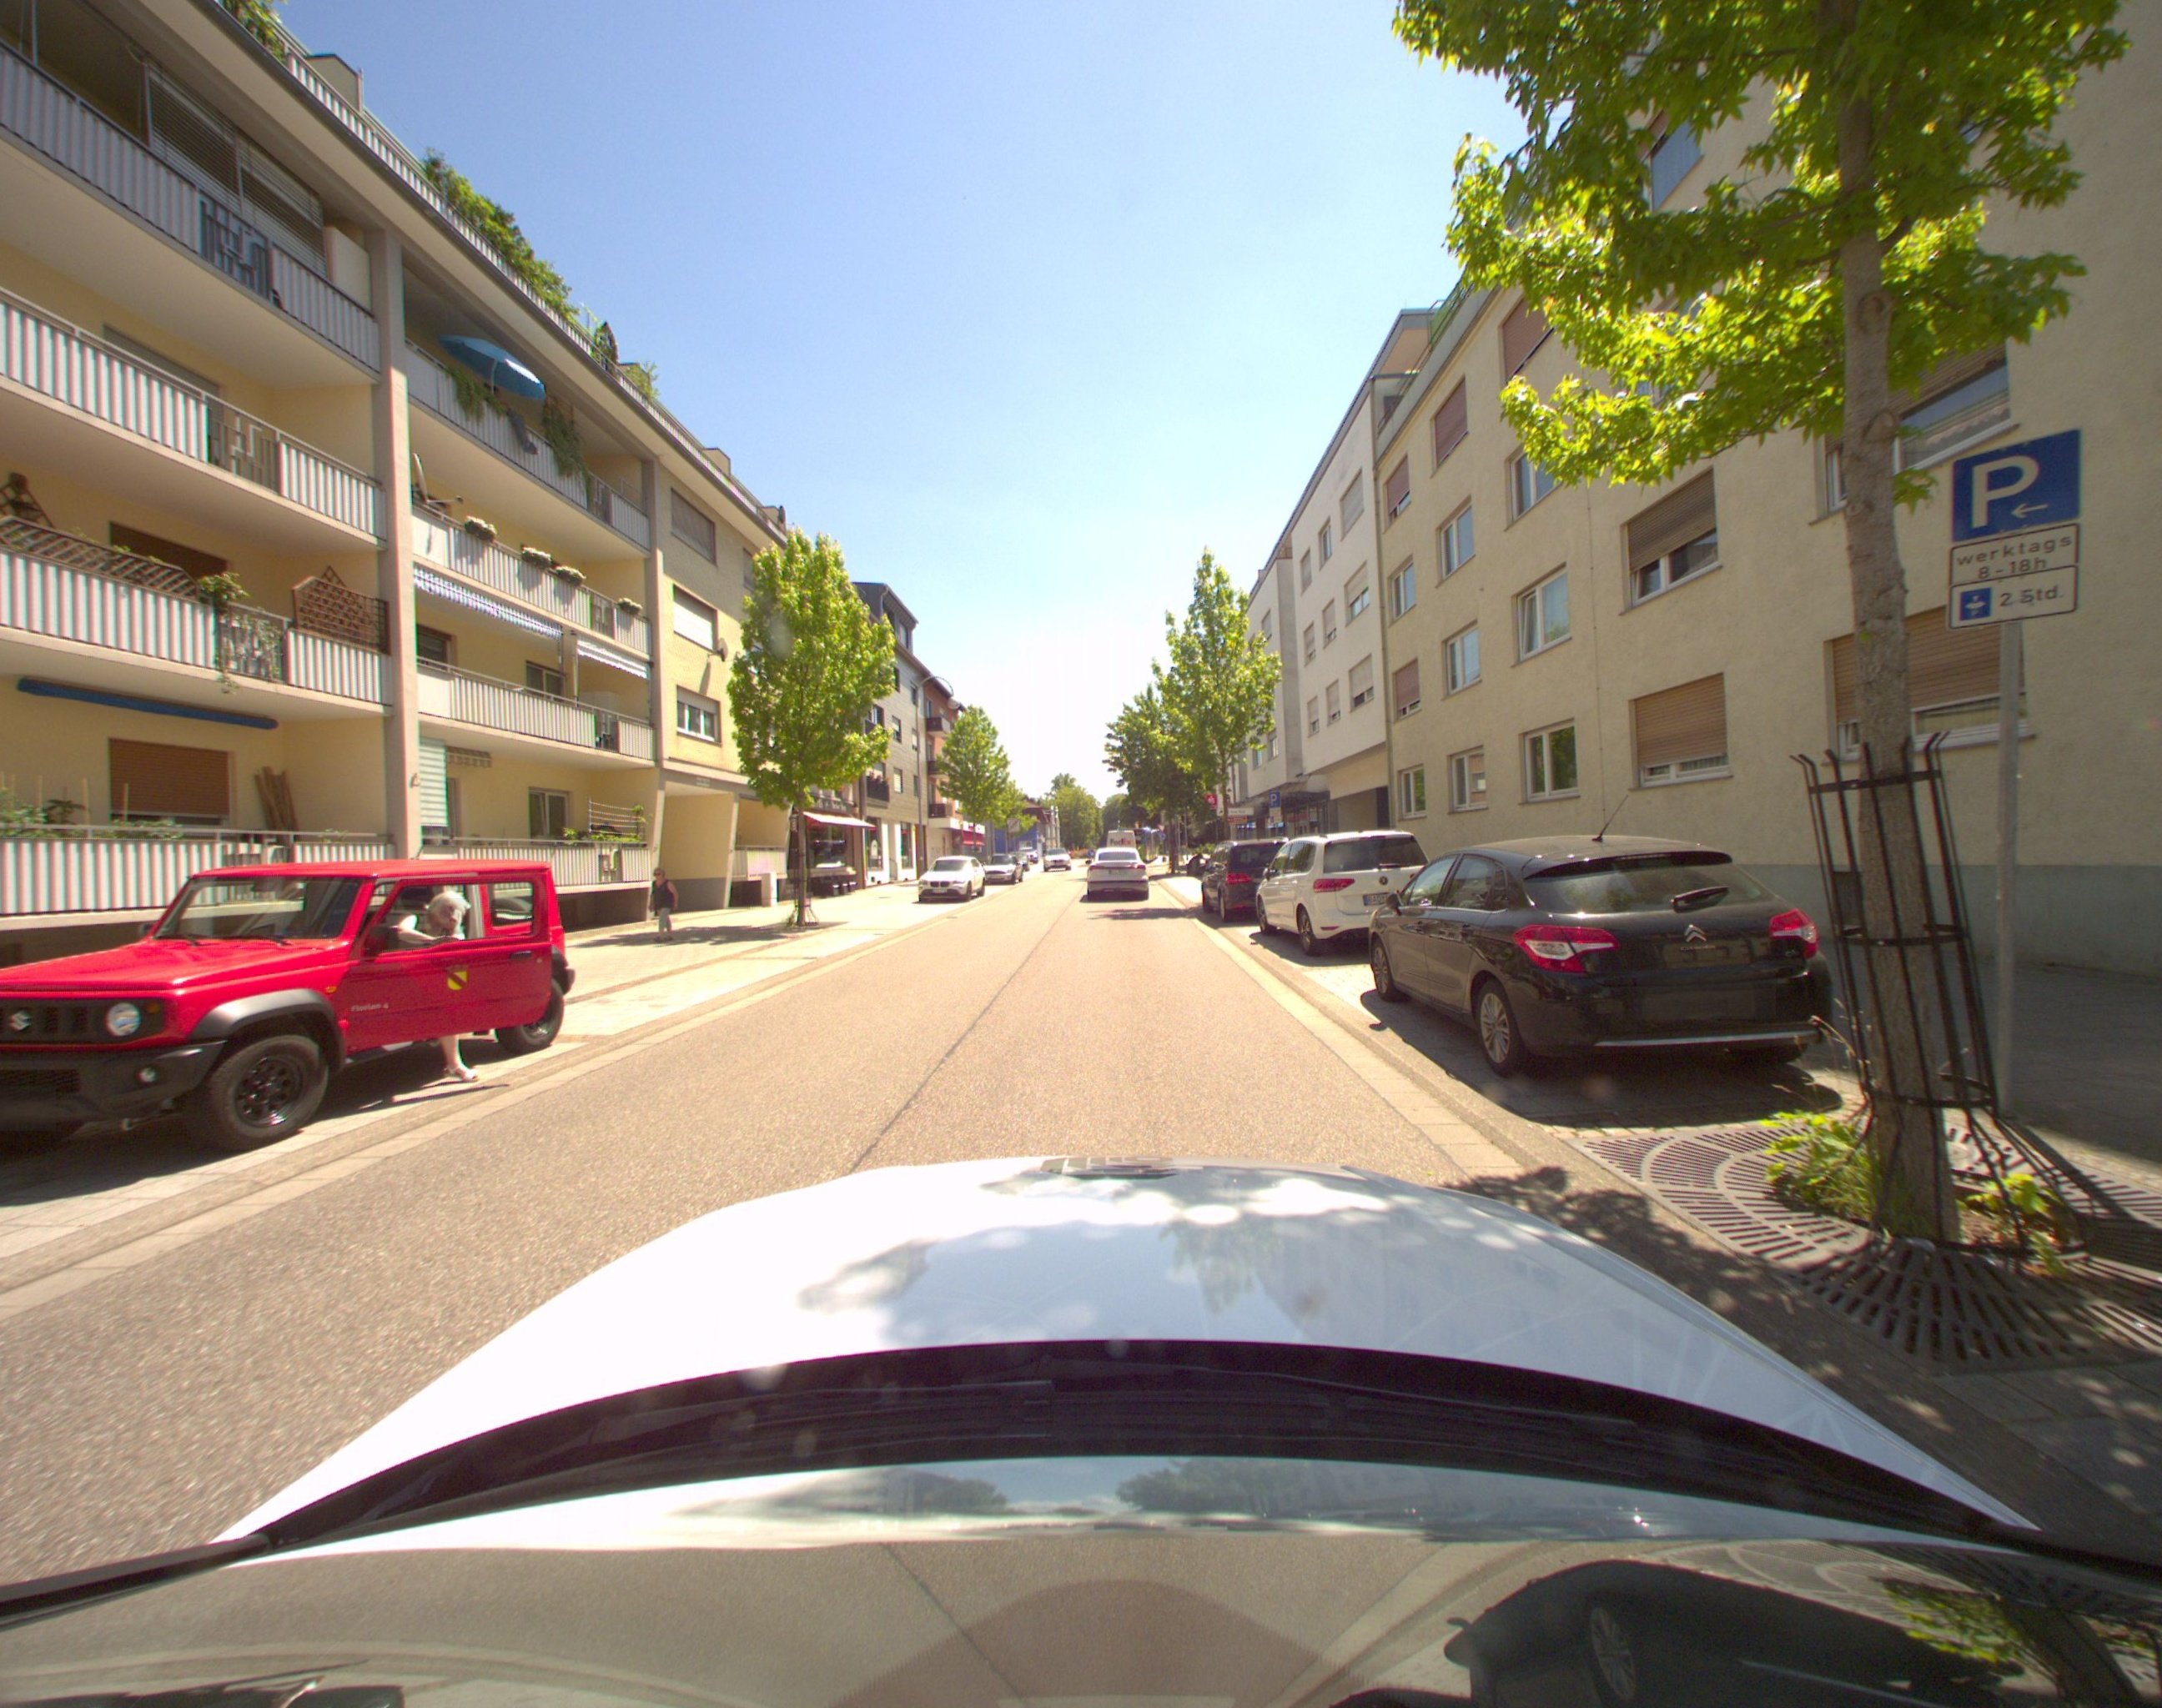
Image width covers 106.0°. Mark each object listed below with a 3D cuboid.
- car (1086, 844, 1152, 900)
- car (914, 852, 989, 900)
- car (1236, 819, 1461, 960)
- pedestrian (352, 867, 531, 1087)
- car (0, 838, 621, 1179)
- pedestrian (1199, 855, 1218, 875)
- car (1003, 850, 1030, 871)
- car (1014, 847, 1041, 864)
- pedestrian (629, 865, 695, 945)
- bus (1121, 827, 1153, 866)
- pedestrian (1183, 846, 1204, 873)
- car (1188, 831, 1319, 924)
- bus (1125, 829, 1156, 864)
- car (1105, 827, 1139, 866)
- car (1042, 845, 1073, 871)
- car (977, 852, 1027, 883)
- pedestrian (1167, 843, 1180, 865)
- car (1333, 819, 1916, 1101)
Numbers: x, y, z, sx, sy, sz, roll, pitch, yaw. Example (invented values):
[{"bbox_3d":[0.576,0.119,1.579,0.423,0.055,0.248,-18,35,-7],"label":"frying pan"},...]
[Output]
[{"bbox_3d":[1.180,0.532,26.420,1.986,1.633,4.001,-1,0,1],"label":"car"},{"bbox_3d":[-4.598,0.735,29.448,1.745,1.618,4.405,0,0,3],"label":"car"},{"bbox_3d":[3.853,0.438,12.718,1.890,1.674,4.690,-4,0,0],"label":"car"},{"bbox_3d":[-4.826,0.890,6.194,0.722,1.534,0.729,-2,0,3],"label":"pedestrian"},{"bbox_3d":[-5.563,0.765,6.142,1.746,1.702,4.103,0,0,2],"label":"car"},{"bbox_3d":[6.147,0.531,39.301,0.901,0.879,0.649,-2,0,7],"label":"pedestrian"},{"bbox_3d":[-4.853,0.453,61.525,1.833,1.495,3.996,-2,0,-3],"label":"car"},{"bbox_3d":[-5.584,0.128,84.380,1.871,1.757,3.974,0,0,-20],"label":"car"},{"bbox_3d":[-8.298,0.988,16.181,0.694,1.492,1.098,1,0,2],"label":"pedestrian"},{"bbox_3d":[4.954,-0.634,70.976,2.648,3.221,7.311,0,0,5],"label":"bus"},{"bbox_3d":[5.500,0.265,39.793,0.902,1.236,0.648,-2,0,1],"label":"pedestrian"},{"bbox_3d":[3.647,0.447,18.074,1.850,1.674,4.536,-4,0,0],"label":"car"},{"bbox_3d":[5.797,-0.649,78.257,2.647,3.209,7.466,0,0,7],"label":"bus"},{"bbox_3d":[2.732,-0.452,54.112,2.147,2.442,5.287,0,0,3],"label":"car"},{"bbox_3d":[-1.600,0.266,57.731,1.849,1.692,4.152,-3,0,2],"label":"car"},{"bbox_3d":[-3.837,0.633,40.303,1.744,1.453,4.406,0,0,4],"label":"car"},{"bbox_3d":[6.266,-0.014,55.269,0.711,1.502,0.584,-2,0,14],"label":"pedestrian"},{"bbox_3d":[3.556,0.553,6.579,1.888,1.438,4.549,-2,0,4],"label":"car"}]
